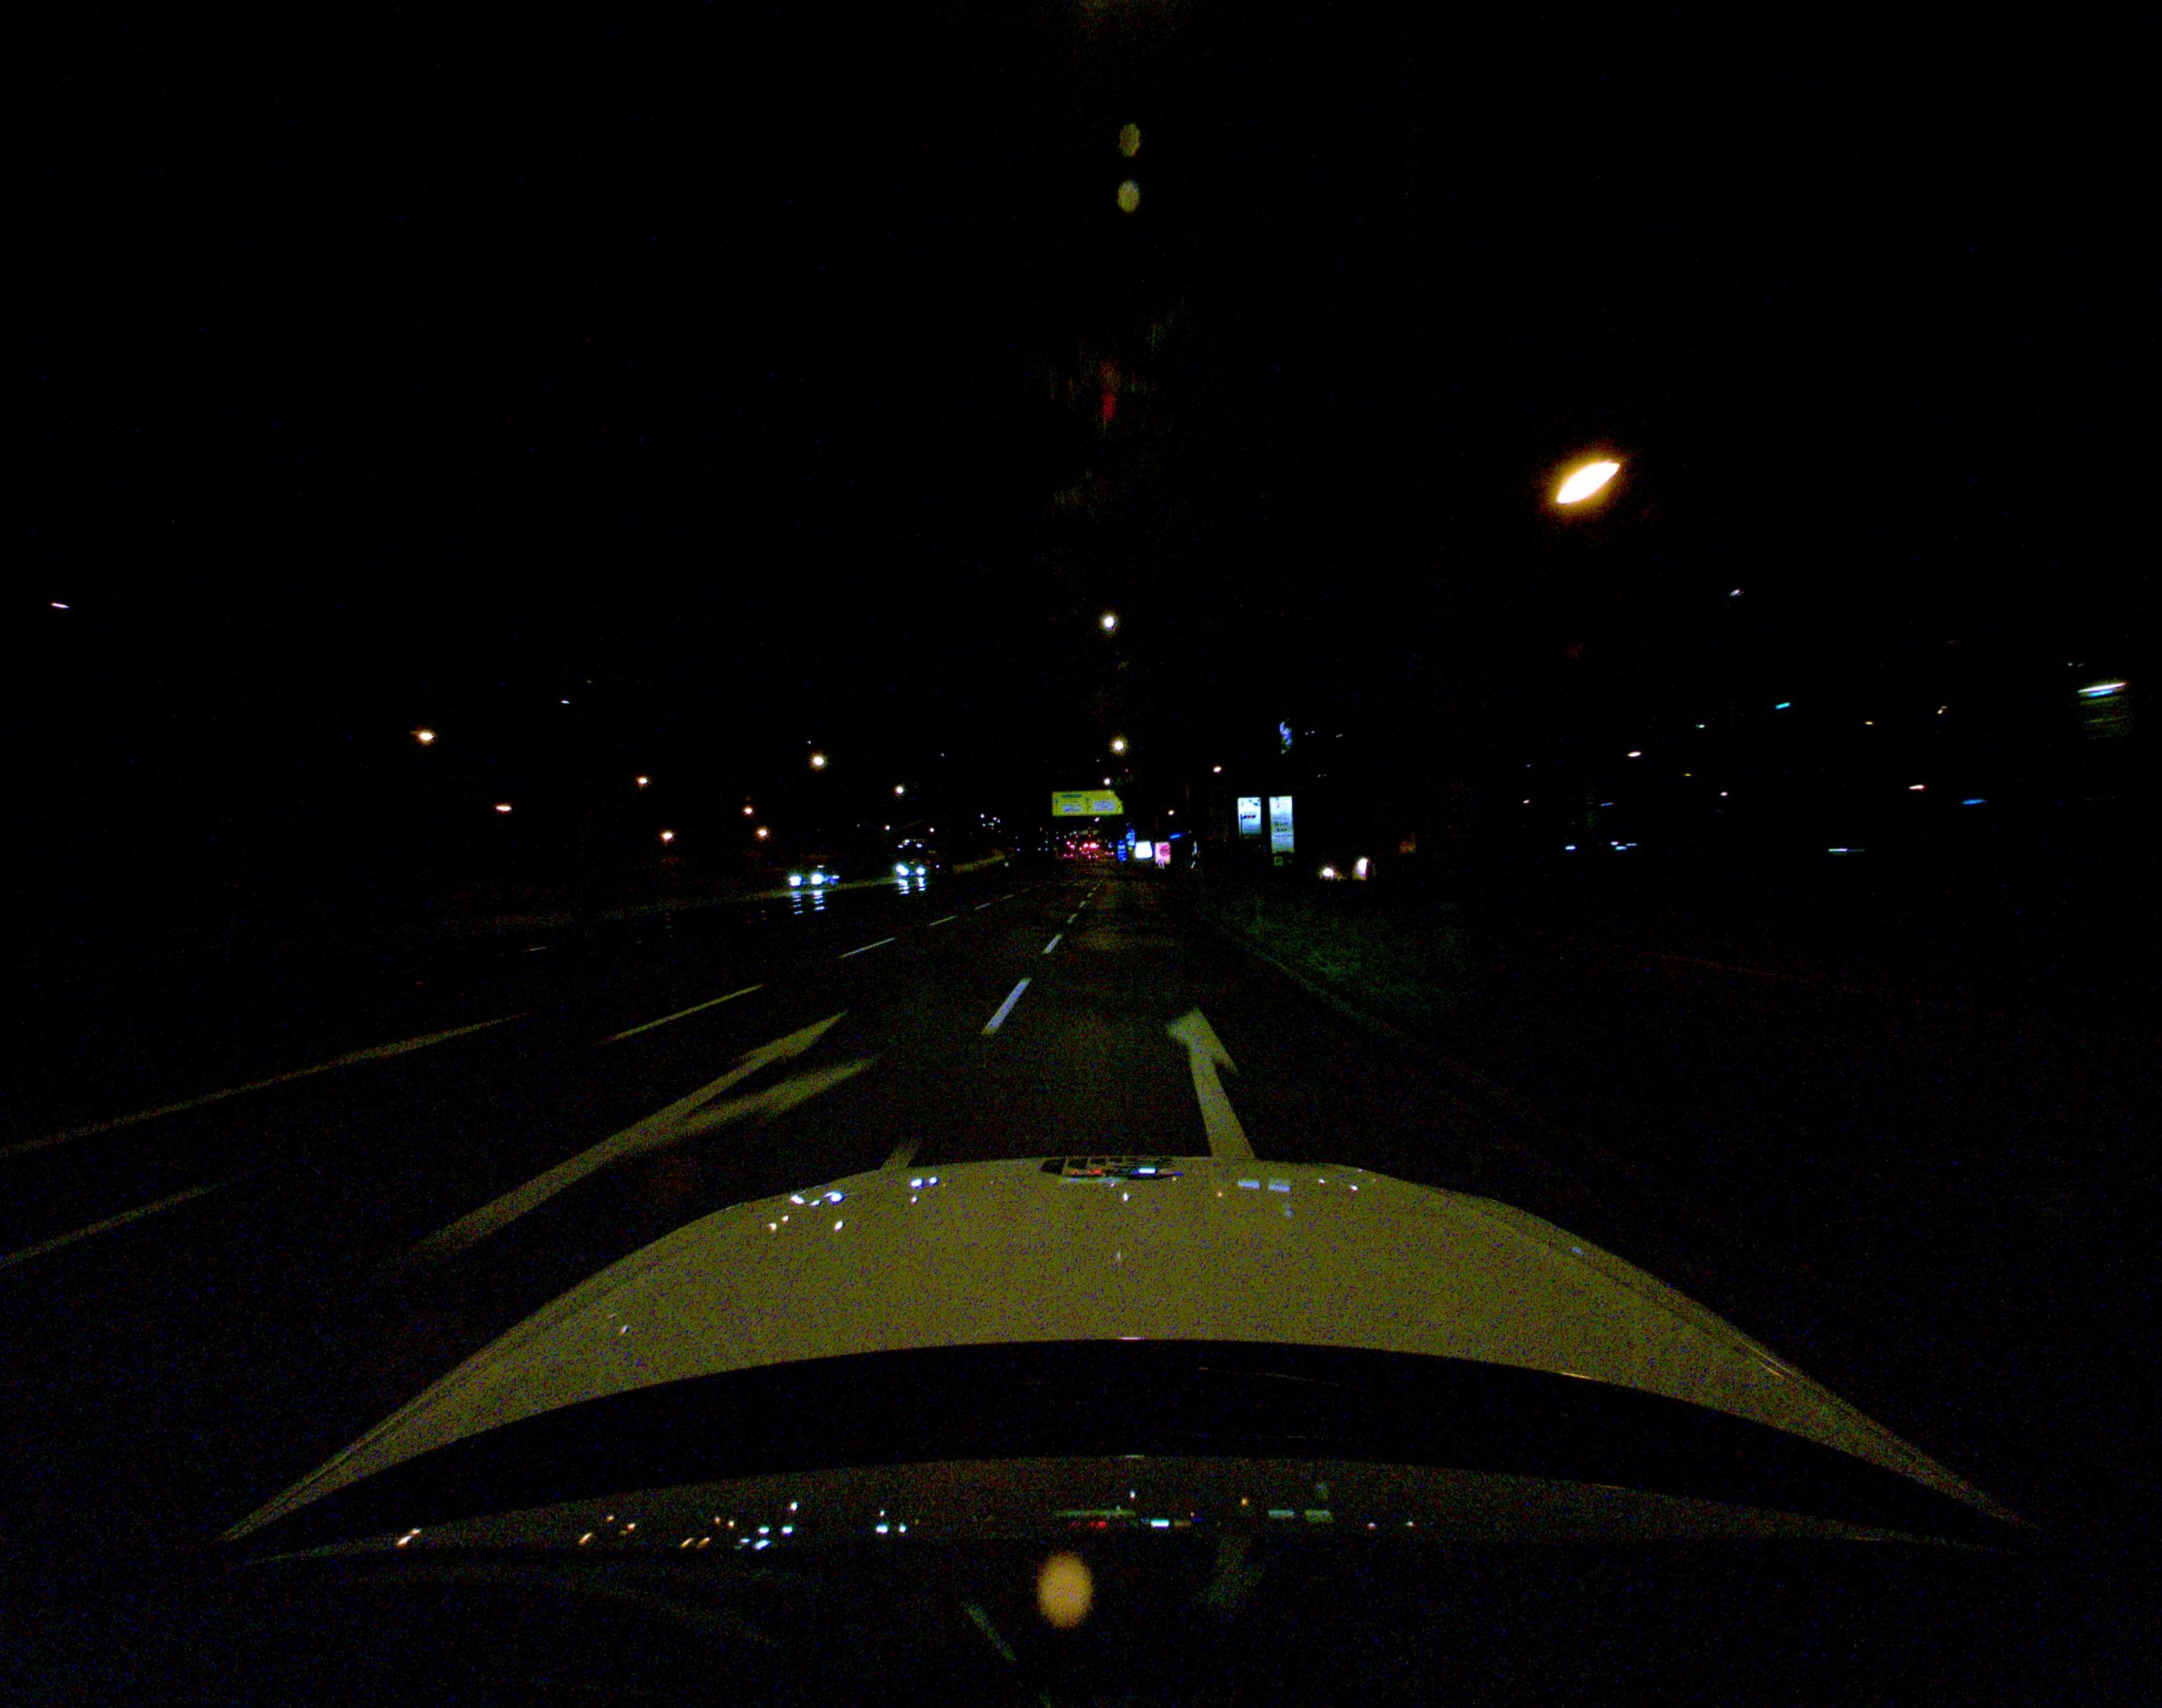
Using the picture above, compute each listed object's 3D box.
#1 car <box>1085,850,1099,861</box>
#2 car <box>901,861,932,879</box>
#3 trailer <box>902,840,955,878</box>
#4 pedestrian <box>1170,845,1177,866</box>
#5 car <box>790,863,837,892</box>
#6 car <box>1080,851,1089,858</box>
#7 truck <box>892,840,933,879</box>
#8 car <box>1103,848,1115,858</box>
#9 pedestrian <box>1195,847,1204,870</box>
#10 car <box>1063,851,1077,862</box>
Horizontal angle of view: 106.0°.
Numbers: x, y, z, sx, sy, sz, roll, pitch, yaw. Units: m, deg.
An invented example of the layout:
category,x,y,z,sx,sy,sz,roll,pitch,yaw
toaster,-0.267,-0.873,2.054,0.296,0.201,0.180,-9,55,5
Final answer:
category,x,y,z,sx,sy,sz,roll,pitch,yaw
car,2.117,0.267,154.550,2.345,2.129,4.832,-2,1,5
car,-14.981,1.415,74.375,1.904,1.473,3.772,-2,1,1
trailer,-17.430,0.493,94.228,2.982,4.000,13.962,-2,1,2
pedestrian,10.533,0.178,93.069,0.741,2.435,0.780,-1,0,4
car,-17.893,1.514,54.620,1.857,1.750,3.702,-2,1,1
car,0.896,0.136,191.855,1.986,1.553,4.002,-2,0,2
truck,-17.723,0.533,85.782,3.029,3.819,4.937,-2,1,2
car,6.550,-0.223,188.318,2.416,2.113,4.832,-1,1,5
pedestrian,10.808,0.371,74.261,0.759,2.063,0.644,-2,0,1
car,-2.179,0.411,159.687,2.252,2.013,4.832,-2,1,5
